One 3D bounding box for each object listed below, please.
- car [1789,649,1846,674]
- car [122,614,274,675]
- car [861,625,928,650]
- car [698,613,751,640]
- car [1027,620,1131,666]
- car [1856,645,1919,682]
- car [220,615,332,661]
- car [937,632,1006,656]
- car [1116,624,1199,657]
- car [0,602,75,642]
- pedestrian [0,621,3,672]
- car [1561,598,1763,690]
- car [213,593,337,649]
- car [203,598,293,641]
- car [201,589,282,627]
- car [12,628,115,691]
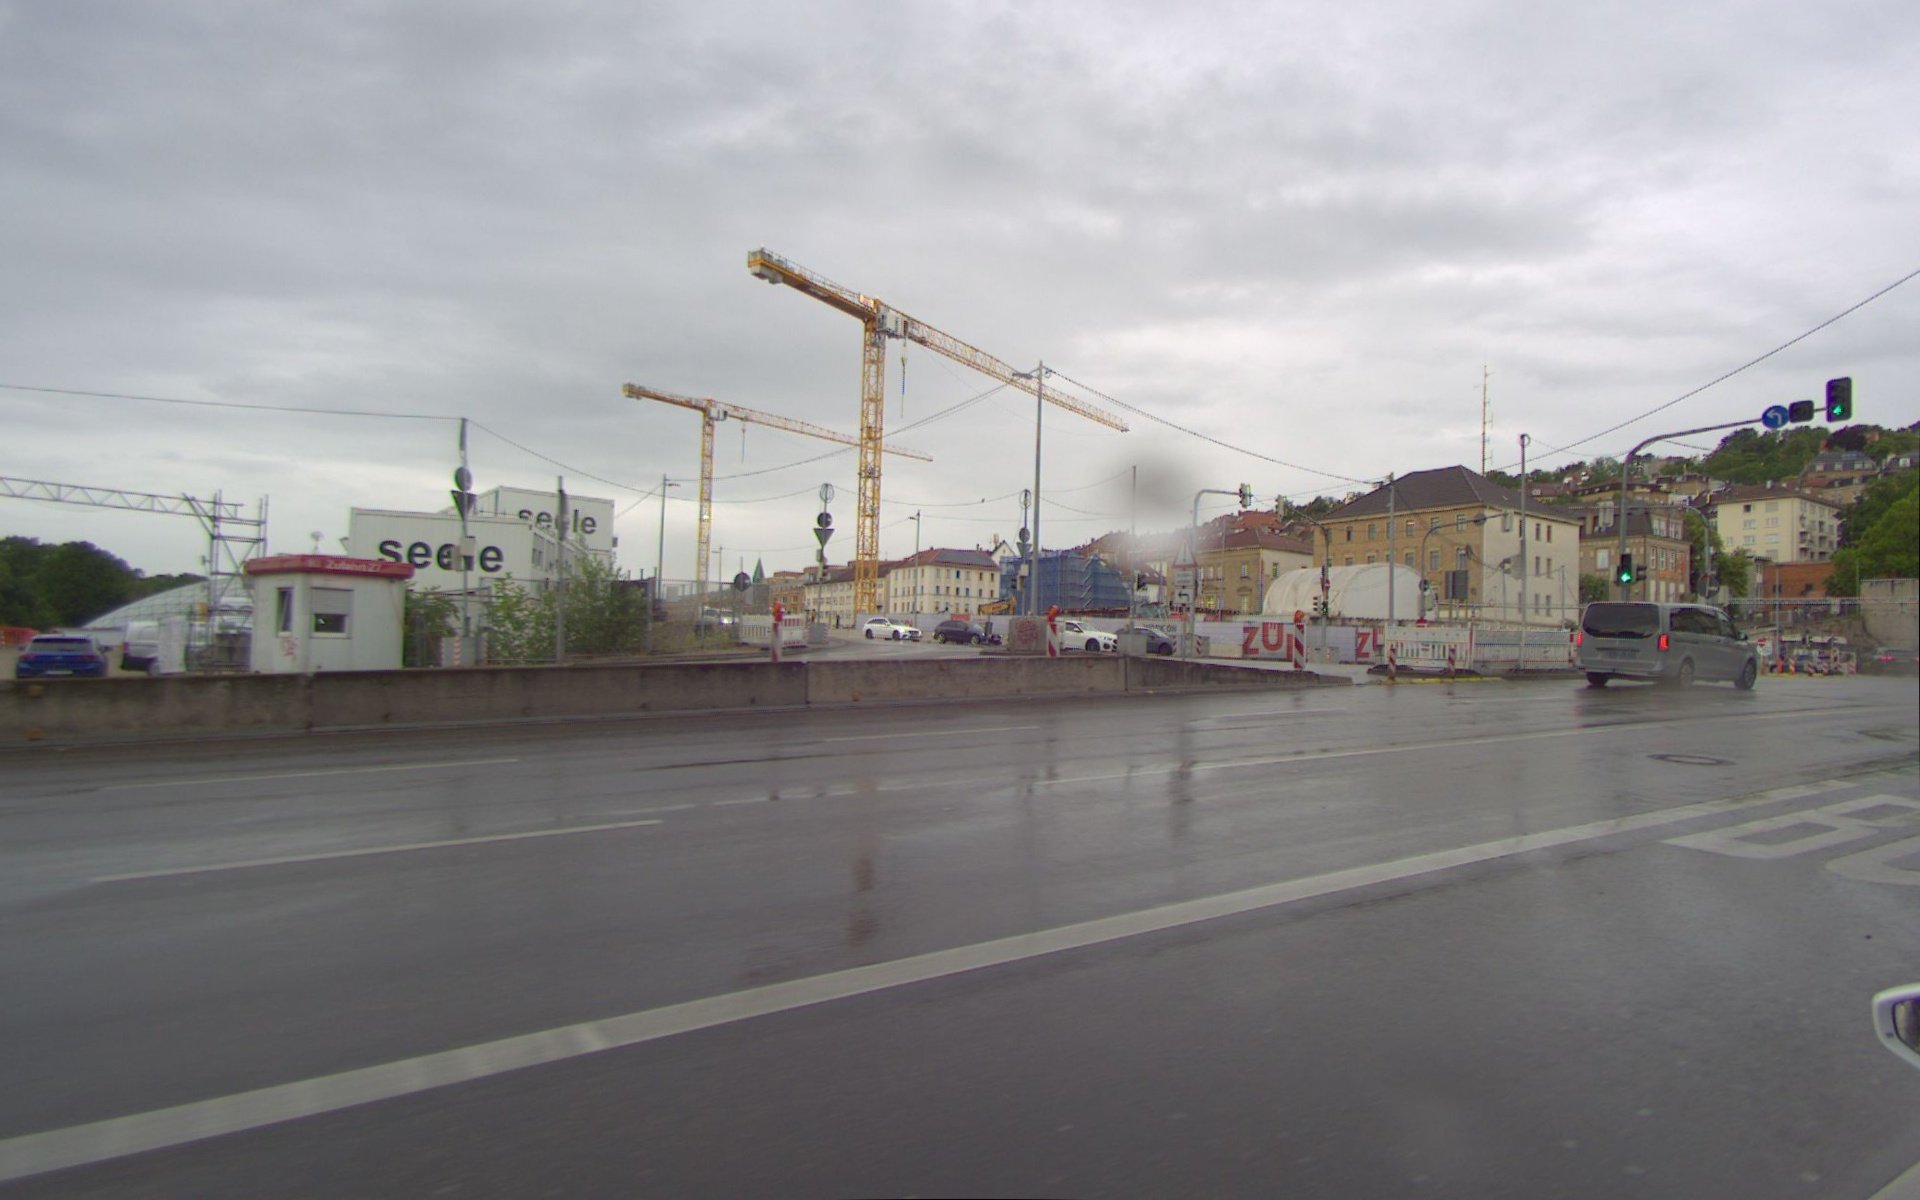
[{"bbox_3d":[57.346,4.104,67.223,1.747,1.483,3.998,0,-1,23],"label":"car"},{"bbox_3d":[-25.952,1.526,34.265,3.969,1.965,1.977,2,-4,-41],"label":"car"},{"bbox_3d":[-4.260,2.388,64.594,1.986,1.578,4.468,2,-2,-43],"label":"car"},{"bbox_3d":[-16.174,1.835,68.911,1.981,1.795,4.312,1,-2,-37],"label":"car"},{"bbox_3d":[5.441,1.945,46.064,4.351,2.040,1.993,-1,-2,36],"label":"car"},{"bbox_3d":[48.421,3.278,52.401,1.750,1.773,3.992,0,-1,30],"label":"car"},{"bbox_3d":[-30.894,1.732,45.394,3.969,1.965,1.977,2,-4,-41],"label":"car"},{"bbox_3d":[0.646,2.592,59.325,1.639,1.194,4.235,1,0,-43],"label":"car"},{"bbox_3d":[10.006,2.037,51.014,3.745,1.586,1.852,-1,-2,40],"label":"car"},{"bbox_3d":[-50.752,1.172,54.431,1.960,2.040,4.001,1,0,2],"label":"car"},{"bbox_3d":[-26.170,1.239,26.718,0.822,1.370,0.744,0,-1,24],"label":"pedestrian"},{"bbox_3d":[15.790,0.982,22.549,4.629,1.863,1.984,2,-1,-30],"label":"car"},{"bbox_3d":[-33.826,1.069,49.672,4.786,2.625,2.252,2,-2,-42],"label":"car"},{"bbox_3d":[-41.318,1.152,58.425,2.125,2.415,4.003,0,-2,5],"label":"car"},{"bbox_3d":[-47.048,0.571,65.891,2.129,2.415,4.003,0,-2,5],"label":"car"},{"bbox_3d":[-24.709,1.576,27.689,1.986,1.528,3.949,2,-1,-43],"label":"car"}]
